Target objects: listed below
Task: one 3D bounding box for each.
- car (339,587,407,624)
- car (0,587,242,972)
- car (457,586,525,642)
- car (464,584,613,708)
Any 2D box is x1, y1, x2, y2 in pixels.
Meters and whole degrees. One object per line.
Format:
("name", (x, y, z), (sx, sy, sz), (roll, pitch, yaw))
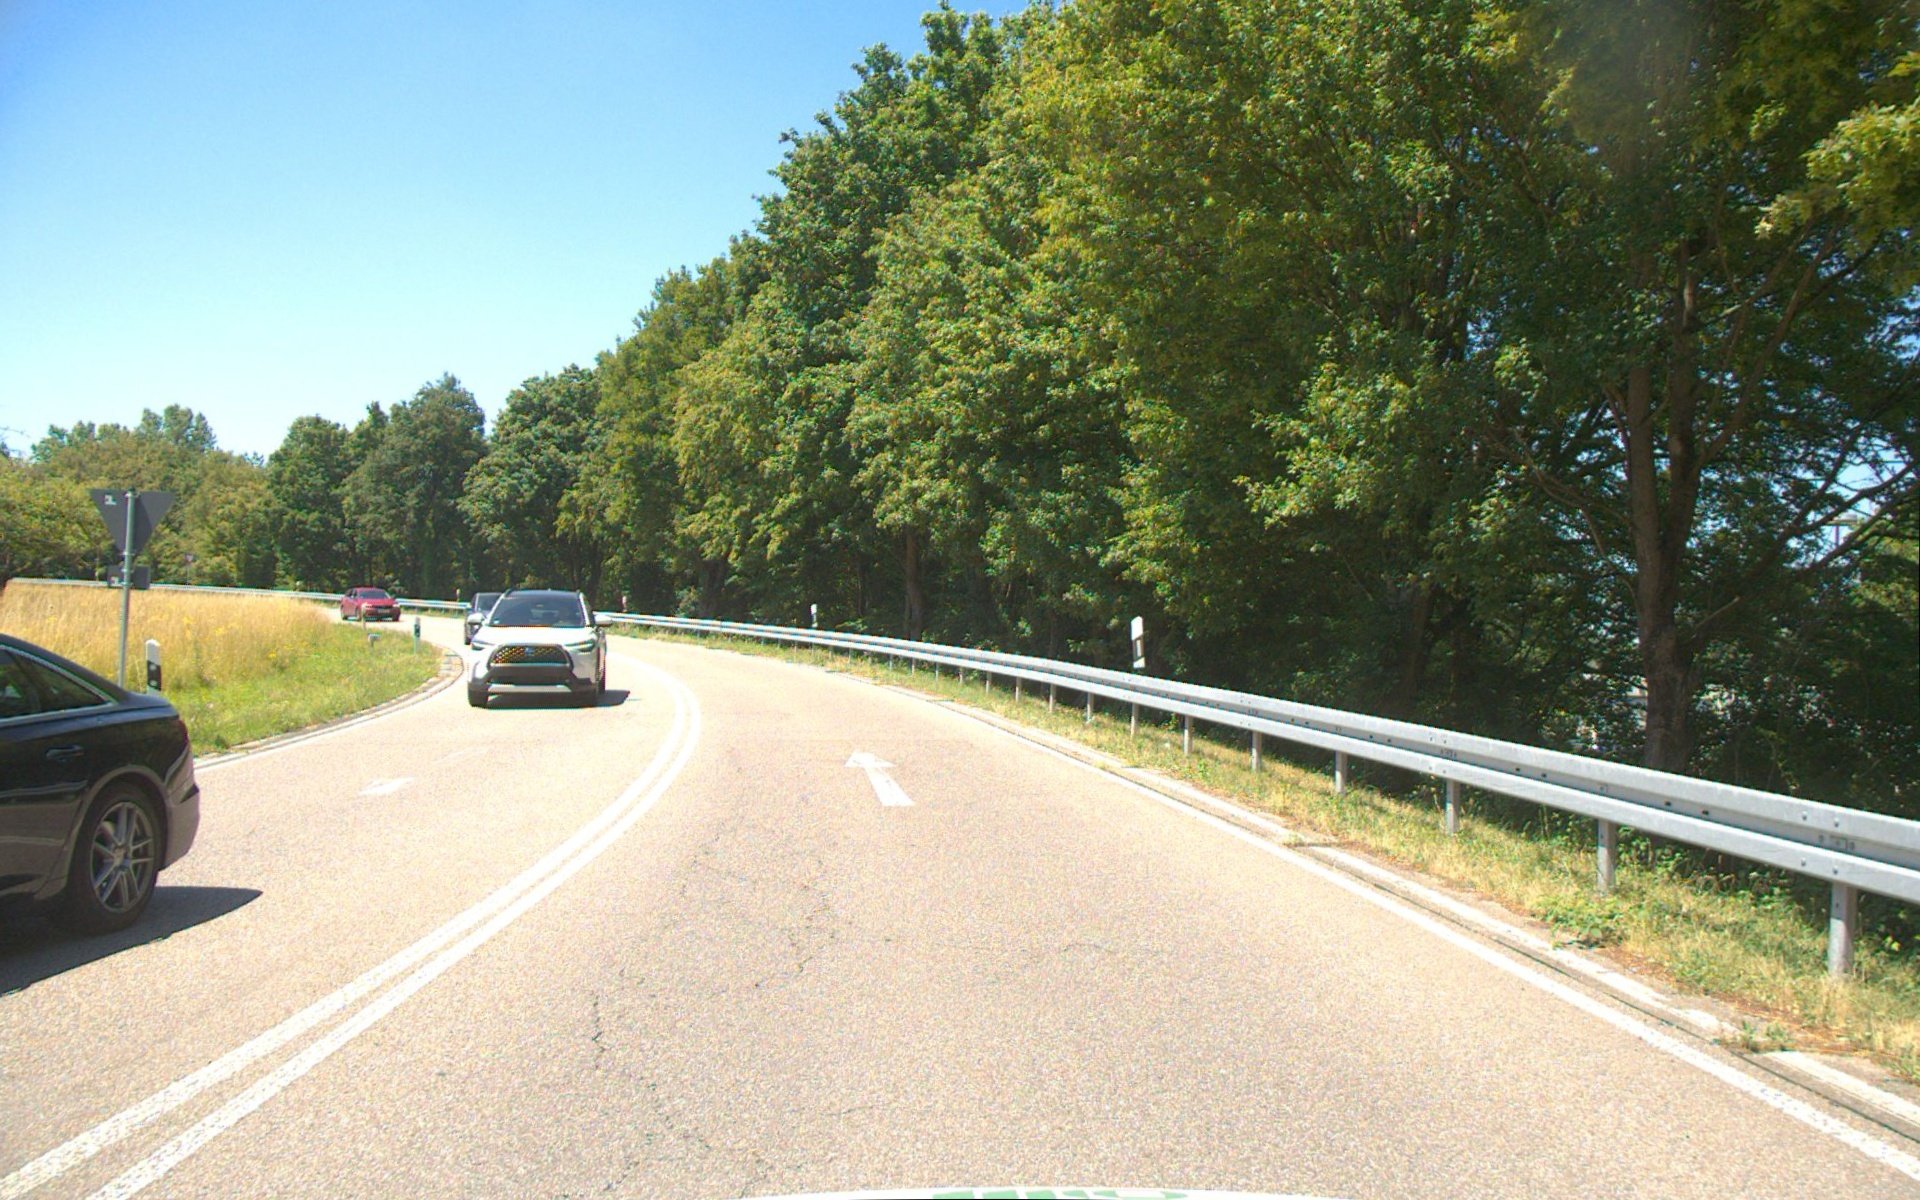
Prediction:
("car", (-26.228, 0.260, 73.834), (1.807, 1.483, 4.347), (-1, -1, -34))
("car", (-4.739, 0.741, 6.256), (1.764, 1.533, 4.660), (-2, -1, 3))
("car", (-13.893, 0.429, 48.877), (1.708, 1.533, 4.050), (-2, -1, -19))
("car", (-6.154, 0.658, 24.560), (1.789, 1.618, 4.207), (-2, -1, -10))
